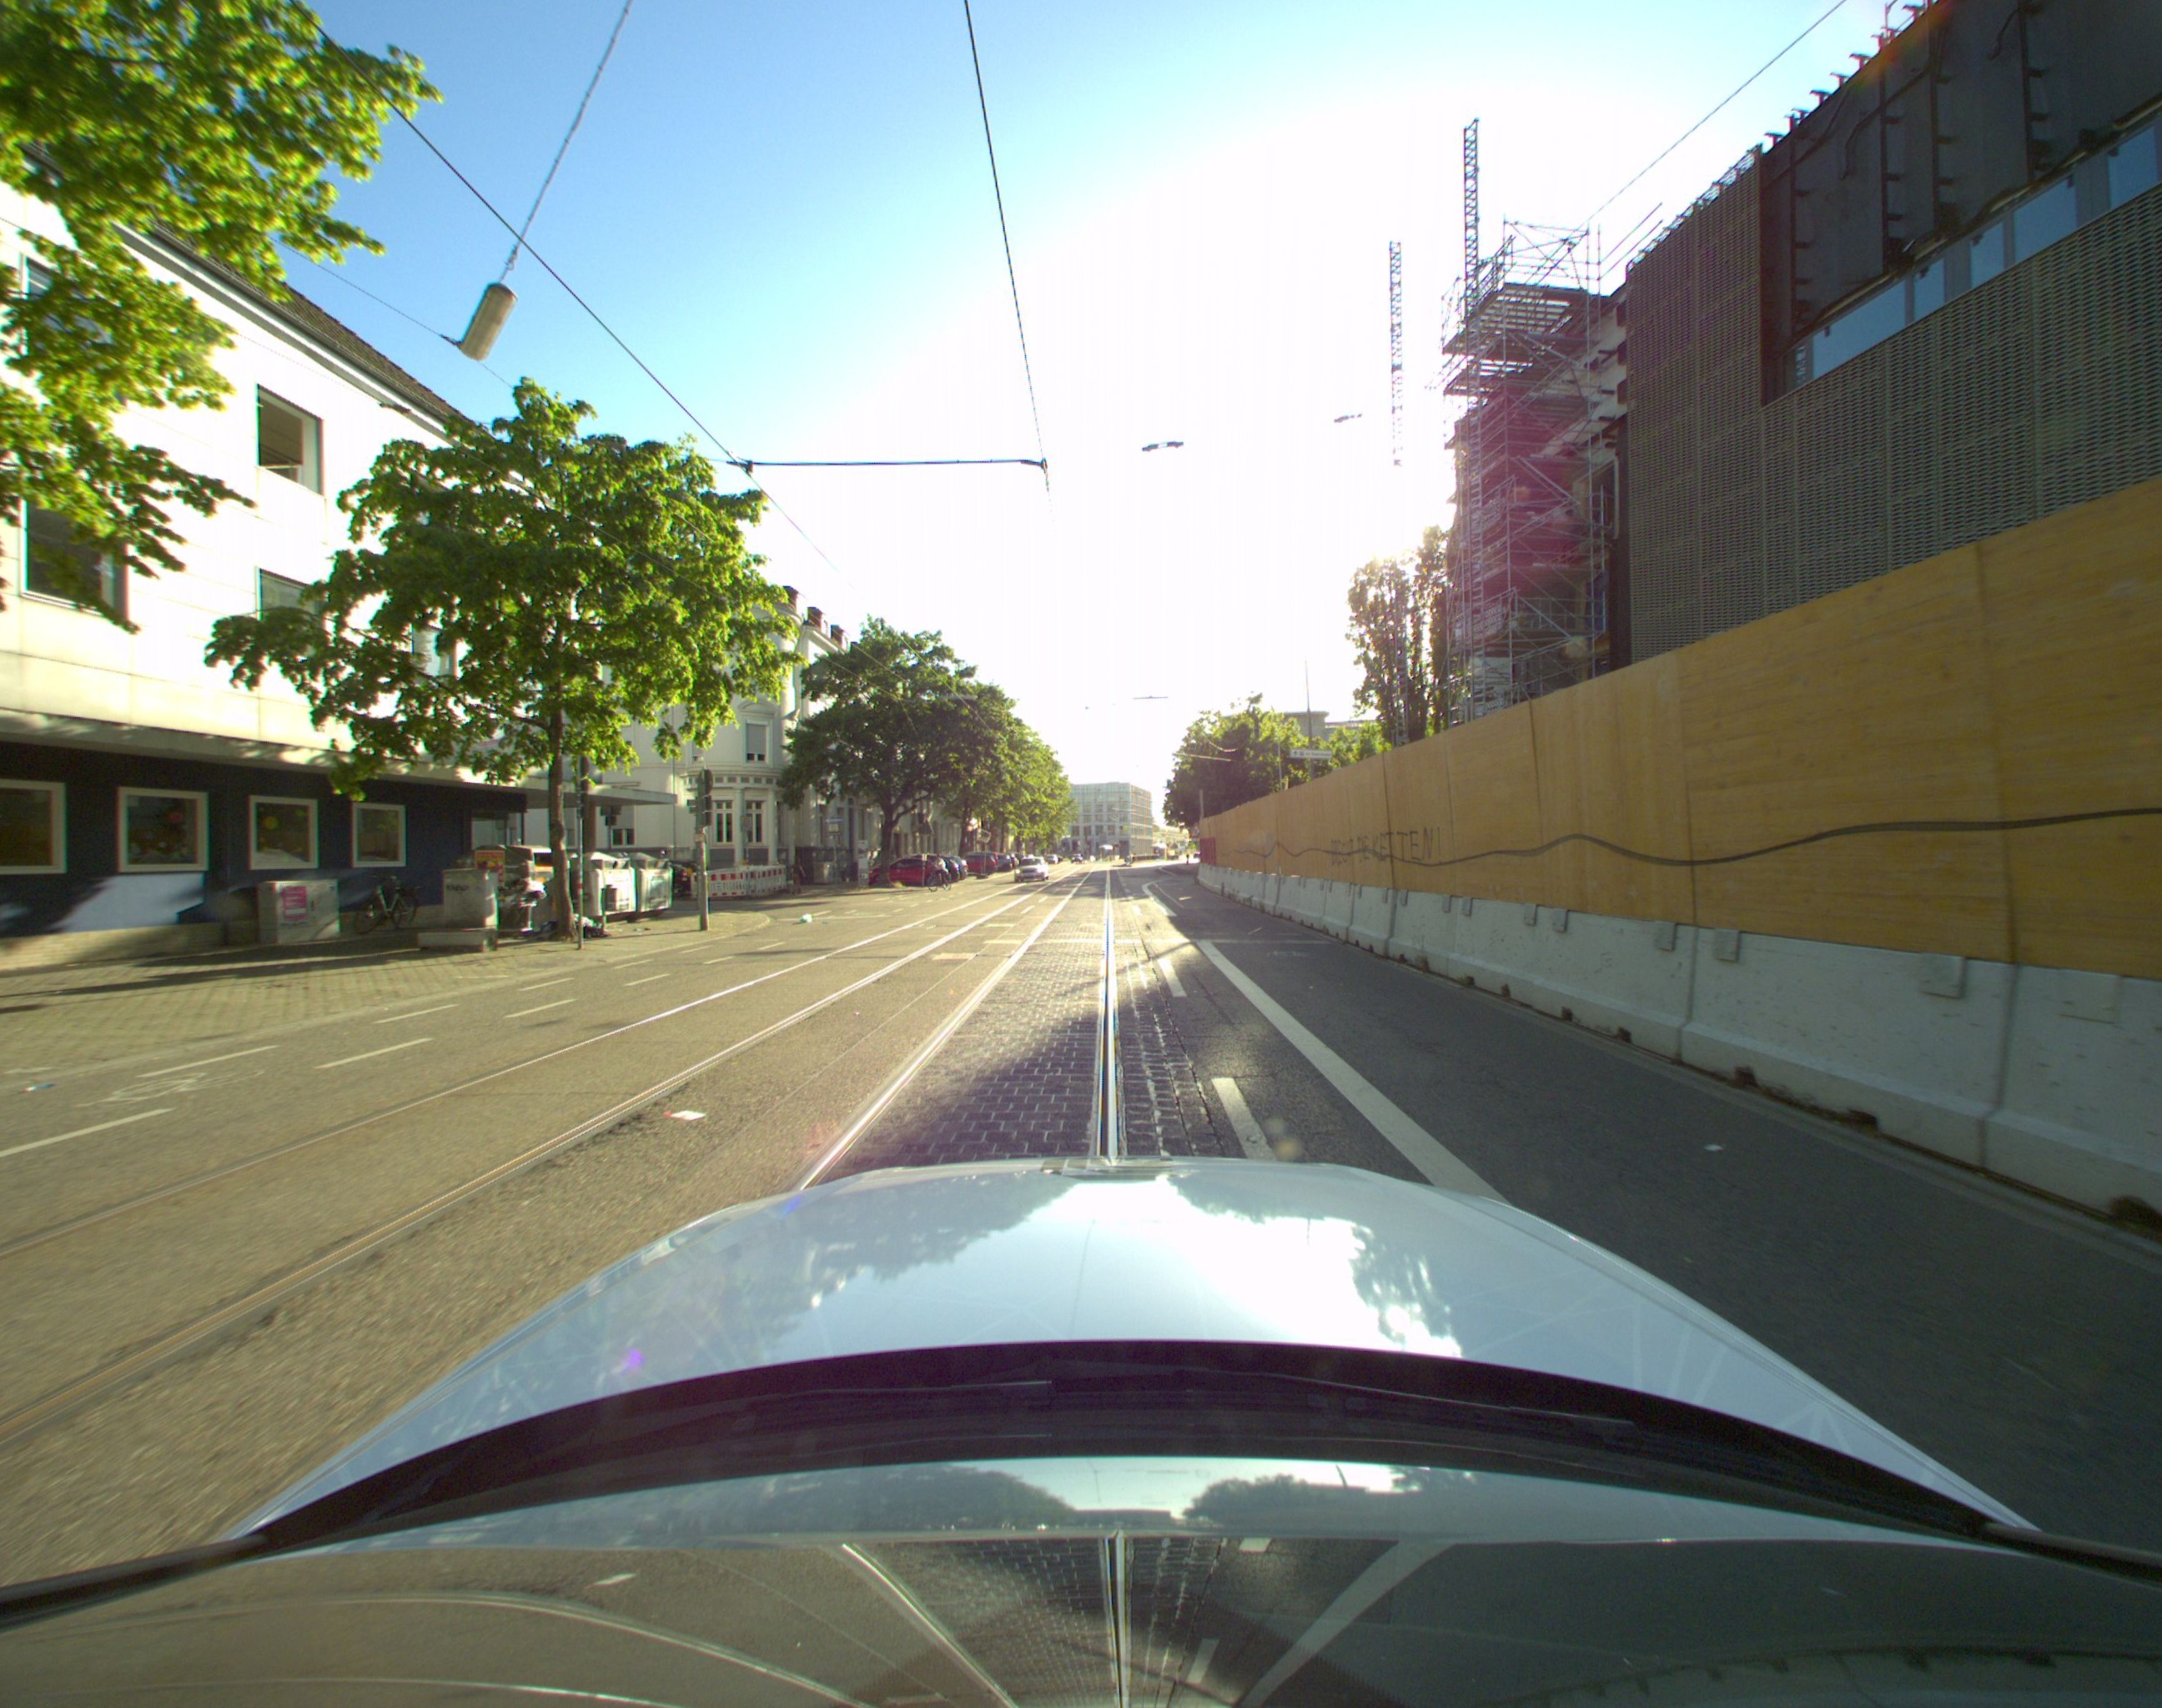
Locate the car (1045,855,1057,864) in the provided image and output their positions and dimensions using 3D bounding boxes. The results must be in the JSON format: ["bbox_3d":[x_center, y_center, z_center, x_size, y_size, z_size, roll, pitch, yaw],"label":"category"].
[{"bbox_3d":[-4.715,0.874,128.350,1.566,1.490,4.002,-1,0,2],"label":"car"}]

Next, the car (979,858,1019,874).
[{"bbox_3d":[-7.535,1.092,74.547,3.390,1.420,1.393,0,0,-26],"label":"car"}]

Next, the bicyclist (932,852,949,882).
[{"bbox_3d":[-6.407,0.594,37.119,0.453,1.378,0.644,-1,0,26],"label":"bicyclist"}]

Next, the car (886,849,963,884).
[{"bbox_3d":[-8.364,0.646,43.671,3.700,1.721,1.595,-1,0,-34],"label":"car"}]

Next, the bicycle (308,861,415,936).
[{"bbox_3d":[-13.931,0.809,15.845,0.525,1.344,2.176,-1,0,-11],"label":"bicycle"}]

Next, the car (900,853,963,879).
[{"bbox_3d":[-9.580,0.762,52.224,3.700,1.527,1.468,-1,0,-34],"label":"car"}]

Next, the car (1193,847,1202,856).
[{"bbox_3d":[27.222,-0.555,190.269,1.982,2.013,4.010,-1,0,9],"label":"car"}]

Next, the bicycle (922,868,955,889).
[{"bbox_3d":[-6.455,1.084,37.039,0.445,0.881,1.912,-1,0,26],"label":"bicycle"}]

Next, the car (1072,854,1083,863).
[{"bbox_3d":[-0.676,0.820,150.311,1.550,1.530,4.007,-1,0,6],"label":"car"}]

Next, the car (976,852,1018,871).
[{"bbox_3d":[-7.409,0.643,71.924,3.390,1.697,1.393,0,-1,-26],"label":"car"}]

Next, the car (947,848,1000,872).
[{"bbox_3d":[-8.607,0.473,65.187,3.850,1.832,1.716,1,-1,-28],"label":"car"}]

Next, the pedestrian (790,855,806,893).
[{"bbox_3d":[-11.811,0.832,33.954,0.342,1.572,0.515,-1,0,30],"label":"pedestrian"}]

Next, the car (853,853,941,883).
[{"bbox_3d":[-9.165,0.713,40.656,3.927,1.453,1.622,1,-1,-32],"label":"car"}]

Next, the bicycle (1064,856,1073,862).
[{"bbox_3d":[-2.508,1.046,162.604,1.791,1.224,0.598,-1,0,-7],"label":"bicycle"}]

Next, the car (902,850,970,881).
[{"bbox_3d":[-8.736,0.676,49.176,3.700,1.721,1.595,-1,0,-34],"label":"car"}]

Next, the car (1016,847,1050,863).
[{"bbox_3d":[-5.093,0.108,85.754,3.283,1.698,1.460,-1,0,-21],"label":"car"}]

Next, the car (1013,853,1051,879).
[{"bbox_3d":[-2.844,0.699,47.958,1.702,1.436,4.174,-1,0,3],"label":"car"}]

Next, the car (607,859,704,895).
[{"bbox_3d":[-17.519,0.933,33.568,3.222,1.443,1.478,-1,0,6],"label":"car"}]

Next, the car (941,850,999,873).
[{"bbox_3d":[-8.466,0.558,62.113,4.181,1.721,1.570,0,0,-26],"label":"car"}]
